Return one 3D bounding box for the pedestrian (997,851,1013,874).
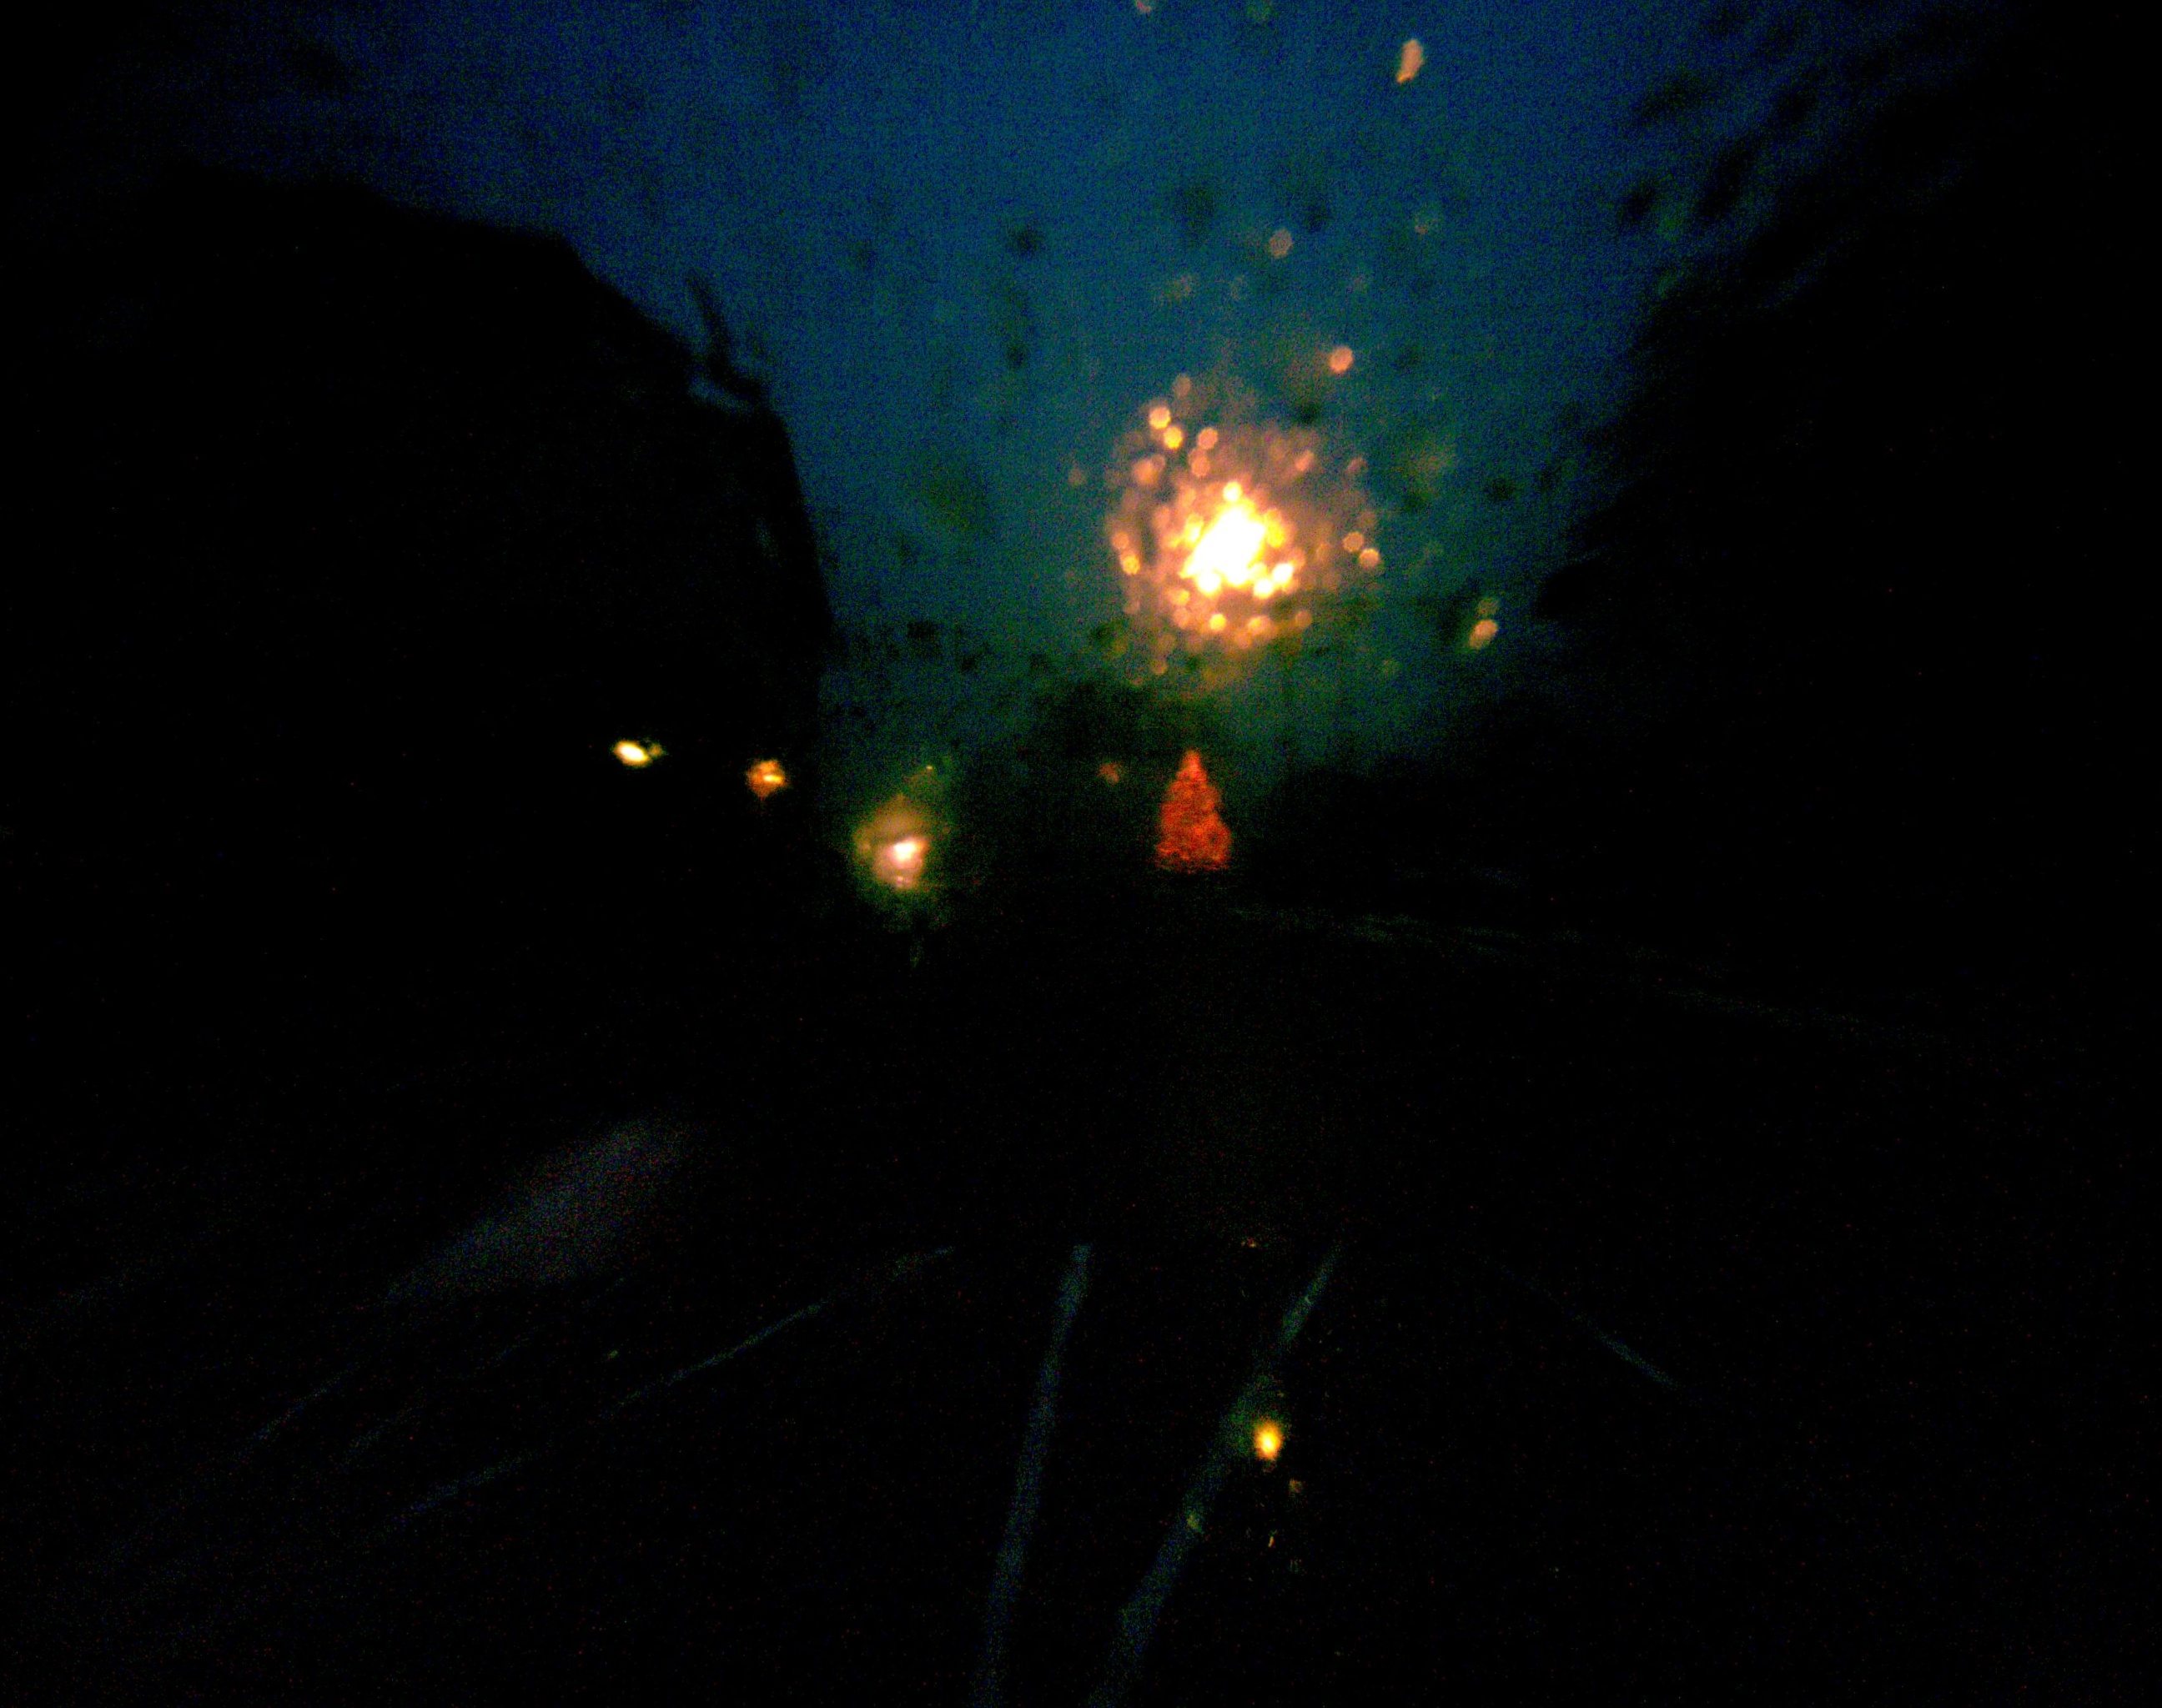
[{"bbox_3d":[-4.504,0.499,45.015,0.811,1.322,0.659,-1,1,-20],"label":"pedestrian"}]

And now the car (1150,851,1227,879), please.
[{"bbox_3d":[5.792,0.559,41.188,3.790,1.365,1.623,-1,1,-17],"label":"car"}]
